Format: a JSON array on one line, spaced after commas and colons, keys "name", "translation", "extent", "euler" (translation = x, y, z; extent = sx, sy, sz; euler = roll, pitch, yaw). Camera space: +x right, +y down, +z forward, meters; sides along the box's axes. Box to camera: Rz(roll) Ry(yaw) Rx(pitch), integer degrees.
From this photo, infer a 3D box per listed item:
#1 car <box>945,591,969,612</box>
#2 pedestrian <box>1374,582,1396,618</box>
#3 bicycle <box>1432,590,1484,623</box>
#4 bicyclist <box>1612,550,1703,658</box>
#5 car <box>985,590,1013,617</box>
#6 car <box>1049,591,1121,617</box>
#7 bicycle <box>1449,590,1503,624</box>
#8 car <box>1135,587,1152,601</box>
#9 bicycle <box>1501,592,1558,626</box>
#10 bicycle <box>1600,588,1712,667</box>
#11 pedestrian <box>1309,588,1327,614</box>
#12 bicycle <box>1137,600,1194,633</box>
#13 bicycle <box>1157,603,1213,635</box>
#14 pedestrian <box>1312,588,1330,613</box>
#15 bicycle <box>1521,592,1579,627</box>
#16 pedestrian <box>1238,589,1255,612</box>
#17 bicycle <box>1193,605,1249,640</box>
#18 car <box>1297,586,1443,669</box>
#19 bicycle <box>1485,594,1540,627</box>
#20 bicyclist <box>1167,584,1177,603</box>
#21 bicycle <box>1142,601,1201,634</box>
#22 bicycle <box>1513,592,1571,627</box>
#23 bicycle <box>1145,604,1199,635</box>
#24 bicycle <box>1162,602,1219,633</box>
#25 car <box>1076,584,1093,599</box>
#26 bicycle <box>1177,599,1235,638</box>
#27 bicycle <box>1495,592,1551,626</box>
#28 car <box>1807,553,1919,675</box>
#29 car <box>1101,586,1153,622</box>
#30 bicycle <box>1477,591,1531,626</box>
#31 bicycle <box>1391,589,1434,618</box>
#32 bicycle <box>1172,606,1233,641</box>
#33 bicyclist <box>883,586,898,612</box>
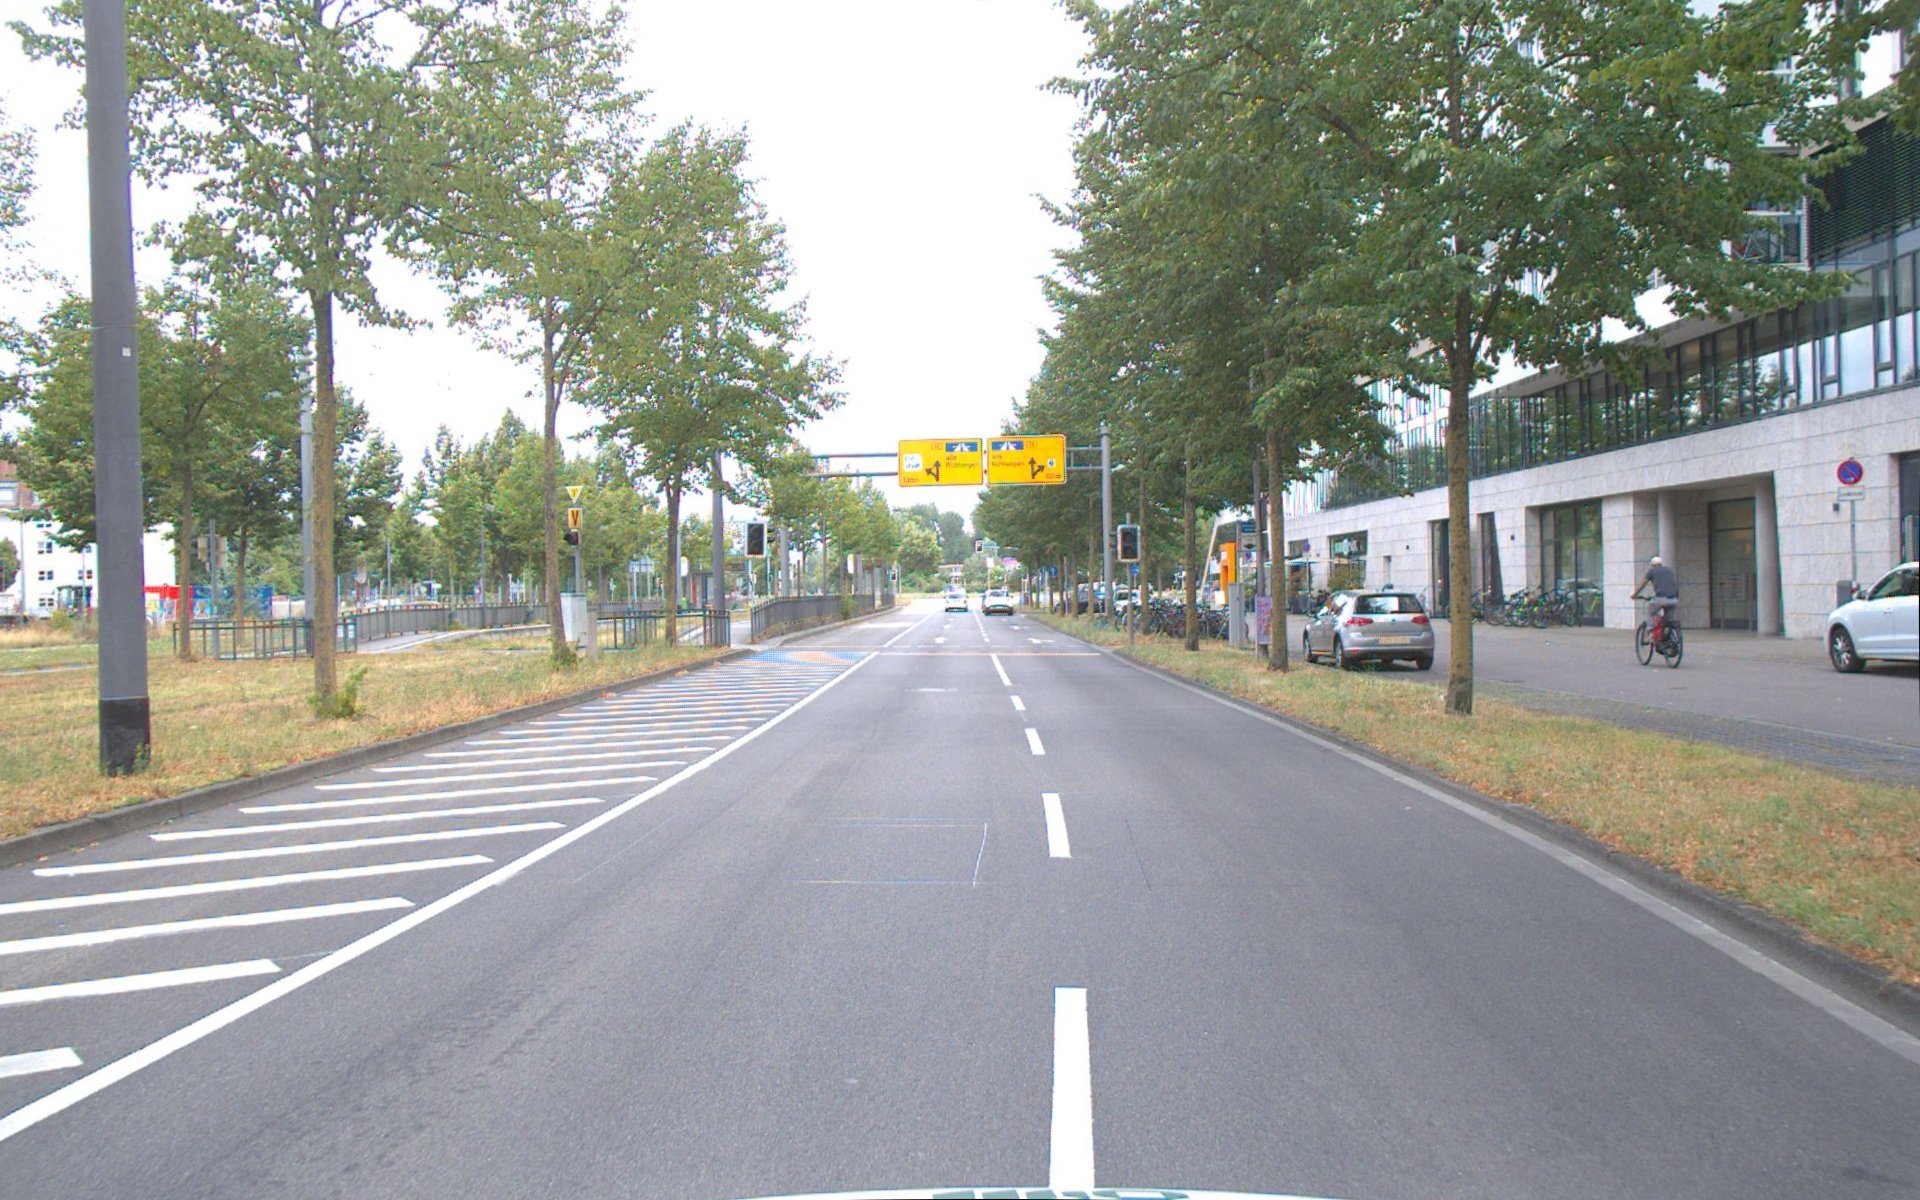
[{"name": "car", "translation": [-0.233, 0.111, 126.460], "extent": [1.738, 1.474, 3.909], "euler": [-1, 0, -1]}, {"name": "pedestrian", "translation": [17.097, -0.005, 66.536], "extent": [0.740, 1.431, 0.721], "euler": [-1, 0, 7]}, {"name": "bicycle", "translation": [16.713, 0.208, 55.549], "extent": [1.566, 1.044, 0.533], "euler": [-2, 0, -3]}, {"name": "bicyclist", "translation": [12.055, 0.069, 28.638], "extent": [0.977, 1.767, 1.129], "euler": [-4, 0, -1]}, {"name": "car", "translation": [2.519, 0.191, 107.085], "extent": [1.742, 1.685, 4.023], "euler": [-1, 0, 0]}, {"name": "car", "translation": [7.818, 0.252, 103.898], "extent": [1.925, 1.501, 4.812], "euler": [-1, 0, -34]}, {"name": "bicycle", "translation": [16.745, 0.217, 53.704], "extent": [1.566, 1.044, 0.533], "euler": [-2, 0, -3]}, {"name": "car", "translation": [22.803, -0.768, 205.220], "extent": [1.745, 1.664, 4.406], "euler": [-1, 0, 10]}, {"name": "bicycle", "translation": [17.036, 0.261, 49.518], "extent": [1.498, 0.970, 0.533], "euler": [-2, 0, -3]}, {"name": "bicycle", "translation": [12.069, 0.449, 28.786], "extent": [0.884, 1.256, 2.267], "euler": [-4, 0, -1]}, {"name": "pedestrian", "translation": [16.821, 0.036, 77.739], "extent": [0.756, 1.213, 1.107], "euler": [-1, 0, 15]}, {"name": "bicycle", "translation": [7.338, 0.585, 59.178], "extent": [1.891, 1.084, 0.705], "euler": [2, 0, -3]}, {"name": "bicycle", "translation": [7.269, 0.610, 53.505], "extent": [1.682, 0.991, 0.608], "euler": [2, 0, -9]}, {"name": "pedestrian", "translation": [17.227, 0.022, 79.001], "extent": [0.704, 1.213, 0.759], "euler": [-1, 0, 22]}, {"name": "bicycle", "translation": [17.124, 0.266, 48.019], "extent": [1.498, 0.970, 0.533], "euler": [-2, 0, -3]}, {"name": "pedestrian", "translation": [16.336, 0.028, 94.369], "extent": [0.879, 1.250, 0.951], "euler": [-1, 0, 5]}, {"name": "bicycle", "translation": [7.543, 0.651, 47.841], "extent": [1.498, 0.970, 0.552], "euler": [1, 0, -3]}, {"name": "car", "translation": [7.711, 0.477, 31.476], "extent": [1.724, 1.446, 4.183], "euler": [-1, 0, 0]}, {"name": "bicycle", "translation": [17.018, 0.312, 50.947], "extent": [1.498, 0.970, 0.533], "euler": [-2, 0, -3]}, {"name": "bicyclist", "translation": [18.191, -0.515, 142.150], "extent": [0.709, 1.610, 0.990], "euler": [-1, -1, 1]}, {"name": "bicycle", "translation": [7.299, 0.609, 57.108], "extent": [1.894, 1.084, 0.543], "euler": [2, 0, -9]}, {"name": "bicycle", "translation": [17.099, 0.272, 48.579], "extent": [1.498, 0.970, 0.533], "euler": [-2, 0, -3]}, {"name": "bicycle", "translation": [7.242, 0.650, 56.461], "extent": [1.711, 0.991, 0.608], "euler": [2, 0, -9]}, {"name": "bicycle", "translation": [7.271, 0.546, 52.210], "extent": [1.682, 0.921, 0.587], "euler": [2, 0, -9]}, {"name": "car", "translation": [15.867, -1.055, 210.975], "extent": [1.952, 1.822, 4.000], "euler": [1, 0, 0]}, {"name": "bicycle", "translation": [7.344, 0.547, 49.347], "extent": [1.635, 1.109, 0.525], "euler": [1, 0, -3]}, {"name": "bicycle", "translation": [17.047, 0.263, 50.123], "extent": [1.498, 0.970, 0.533], "euler": [-2, 0, -3]}, {"name": "car", "translation": [14.030, 0.153, 23.432], "extent": [1.820, 1.616, 4.240], "euler": [-4, 0, 0]}, {"name": "car", "translation": [7.828, 0.176, 77.881], "extent": [1.898, 1.579, 4.593], "euler": [-1, 0, -1]}, {"name": "bicycle", "translation": [17.049, 0.258, 51.888], "extent": [1.498, 1.044, 0.533], "euler": [-2, 0, -3]}, {"name": "bicycle", "translation": [17.206, 0.120, 62.908], "extent": [1.579, 1.044, 0.605], "euler": [-2, 0, -28]}, {"name": "bicycle", "translation": [7.348, 0.704, 50.177], "extent": [1.739, 1.030, 0.609], "euler": [1, 0, -9]}, {"name": "bicyclist", "translation": [-5.932, -0.081, 141.081], "extent": [0.726, 1.916, 0.722], "euler": [19, -19, -30]}]
